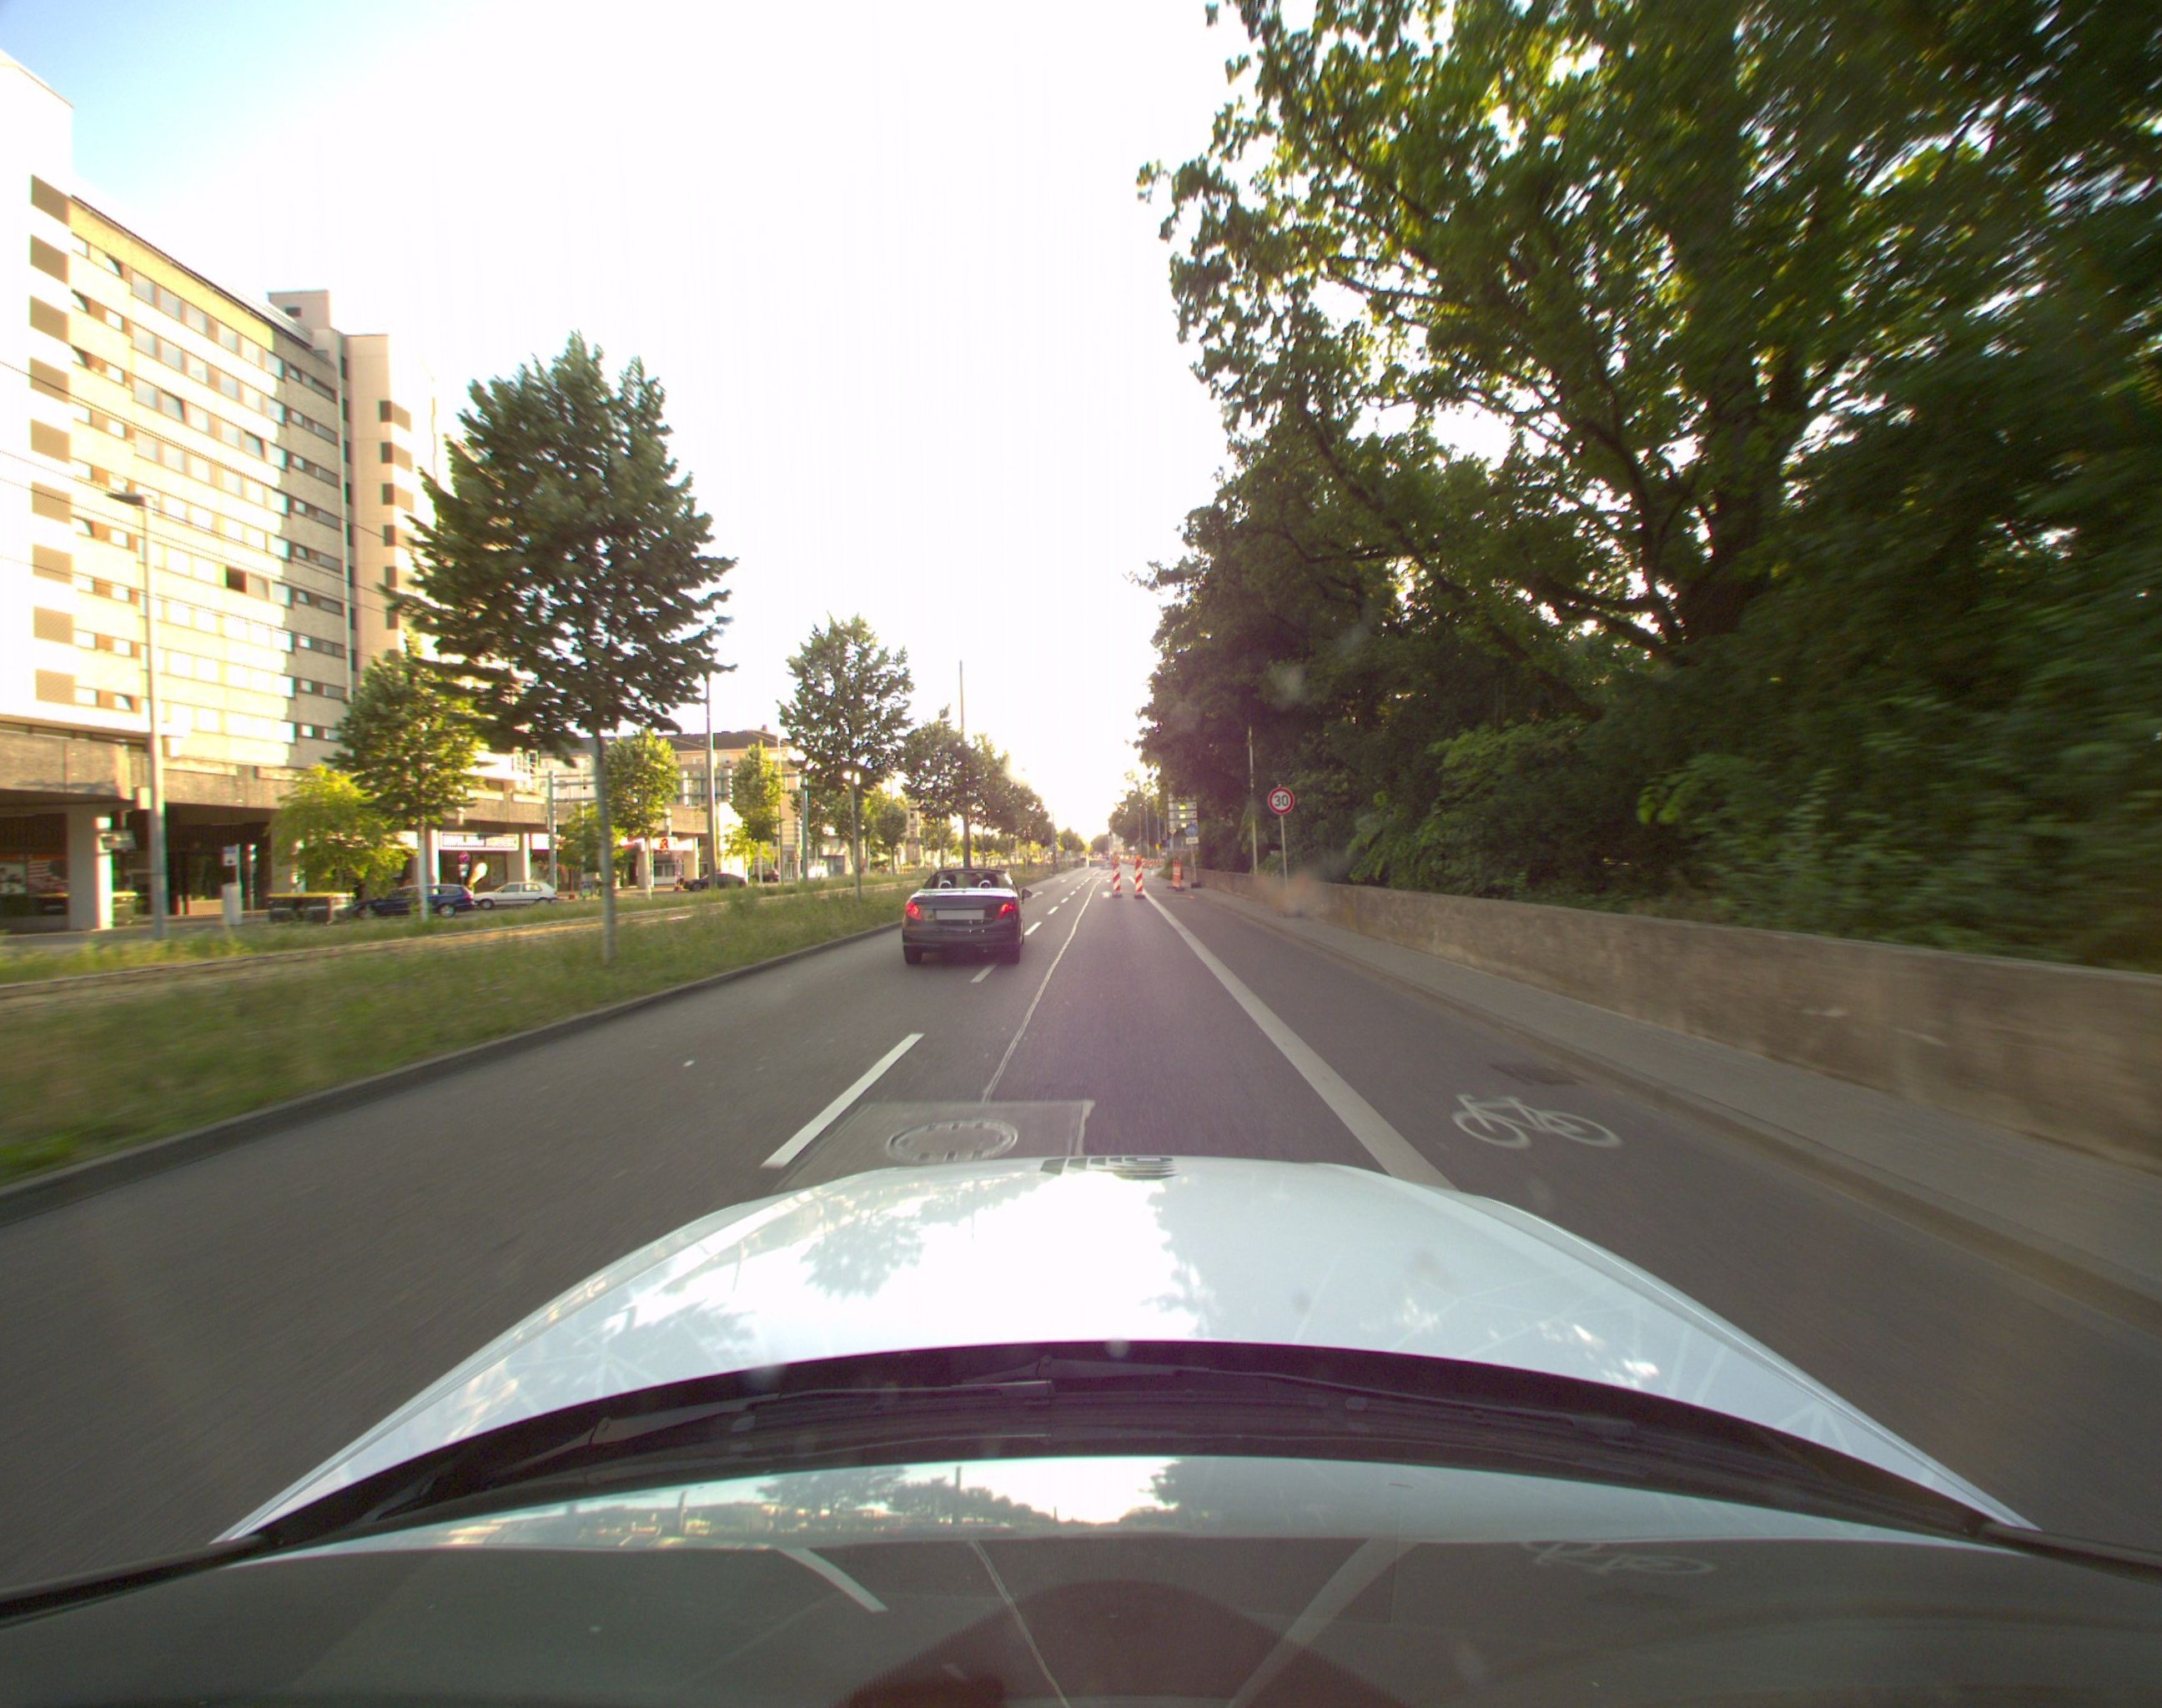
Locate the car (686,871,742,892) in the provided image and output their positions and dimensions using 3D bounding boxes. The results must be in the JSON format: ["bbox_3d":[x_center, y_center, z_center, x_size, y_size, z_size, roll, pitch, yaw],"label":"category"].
[{"bbox_3d":[-29.457,2.218,65.382,3.750,1.450,1.723,-2,-1,-41],"label":"car"}]

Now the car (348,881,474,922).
[{"bbox_3d":[-30.521,2.130,37.265,4.306,1.590,1.986,-2,-1,-38],"label":"car"}]

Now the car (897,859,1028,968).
[{"bbox_3d":[-1.752,0.829,13.168,1.715,1.449,3.897,0,0,-3],"label":"car"}]

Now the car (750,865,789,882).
[{"bbox_3d":[-38.964,2.434,101.904,3.920,1.845,2.192,-2,0,1],"label":"car"}]

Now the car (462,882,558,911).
[{"bbox_3d":[-30.574,2.243,43.648,4.150,1.436,1.805,0,-2,-37],"label":"car"}]
